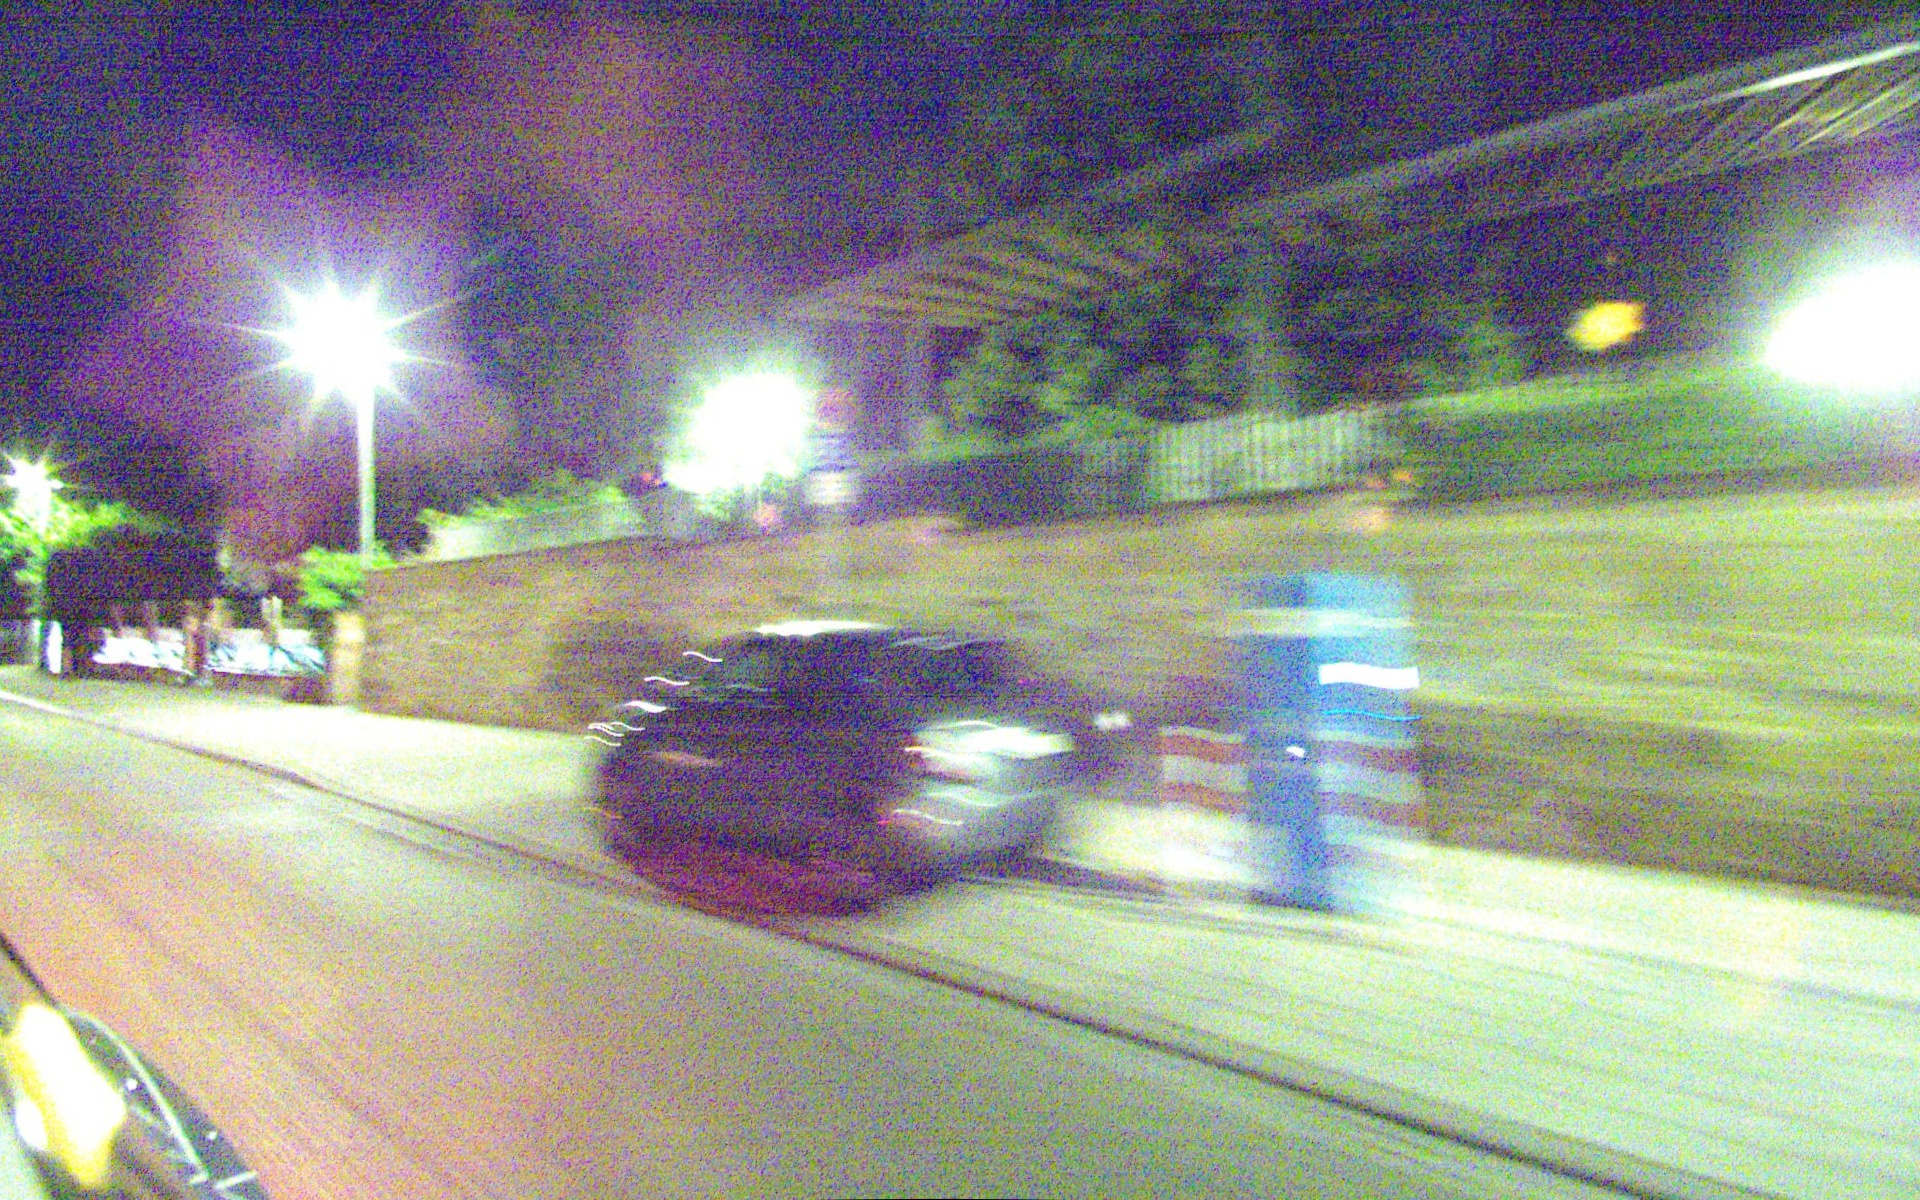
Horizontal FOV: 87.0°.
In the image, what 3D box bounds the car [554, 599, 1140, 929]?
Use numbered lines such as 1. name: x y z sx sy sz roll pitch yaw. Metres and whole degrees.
1. car: -0.880 0.781 6.561 3.687 1.535 1.675 0 -1 39
